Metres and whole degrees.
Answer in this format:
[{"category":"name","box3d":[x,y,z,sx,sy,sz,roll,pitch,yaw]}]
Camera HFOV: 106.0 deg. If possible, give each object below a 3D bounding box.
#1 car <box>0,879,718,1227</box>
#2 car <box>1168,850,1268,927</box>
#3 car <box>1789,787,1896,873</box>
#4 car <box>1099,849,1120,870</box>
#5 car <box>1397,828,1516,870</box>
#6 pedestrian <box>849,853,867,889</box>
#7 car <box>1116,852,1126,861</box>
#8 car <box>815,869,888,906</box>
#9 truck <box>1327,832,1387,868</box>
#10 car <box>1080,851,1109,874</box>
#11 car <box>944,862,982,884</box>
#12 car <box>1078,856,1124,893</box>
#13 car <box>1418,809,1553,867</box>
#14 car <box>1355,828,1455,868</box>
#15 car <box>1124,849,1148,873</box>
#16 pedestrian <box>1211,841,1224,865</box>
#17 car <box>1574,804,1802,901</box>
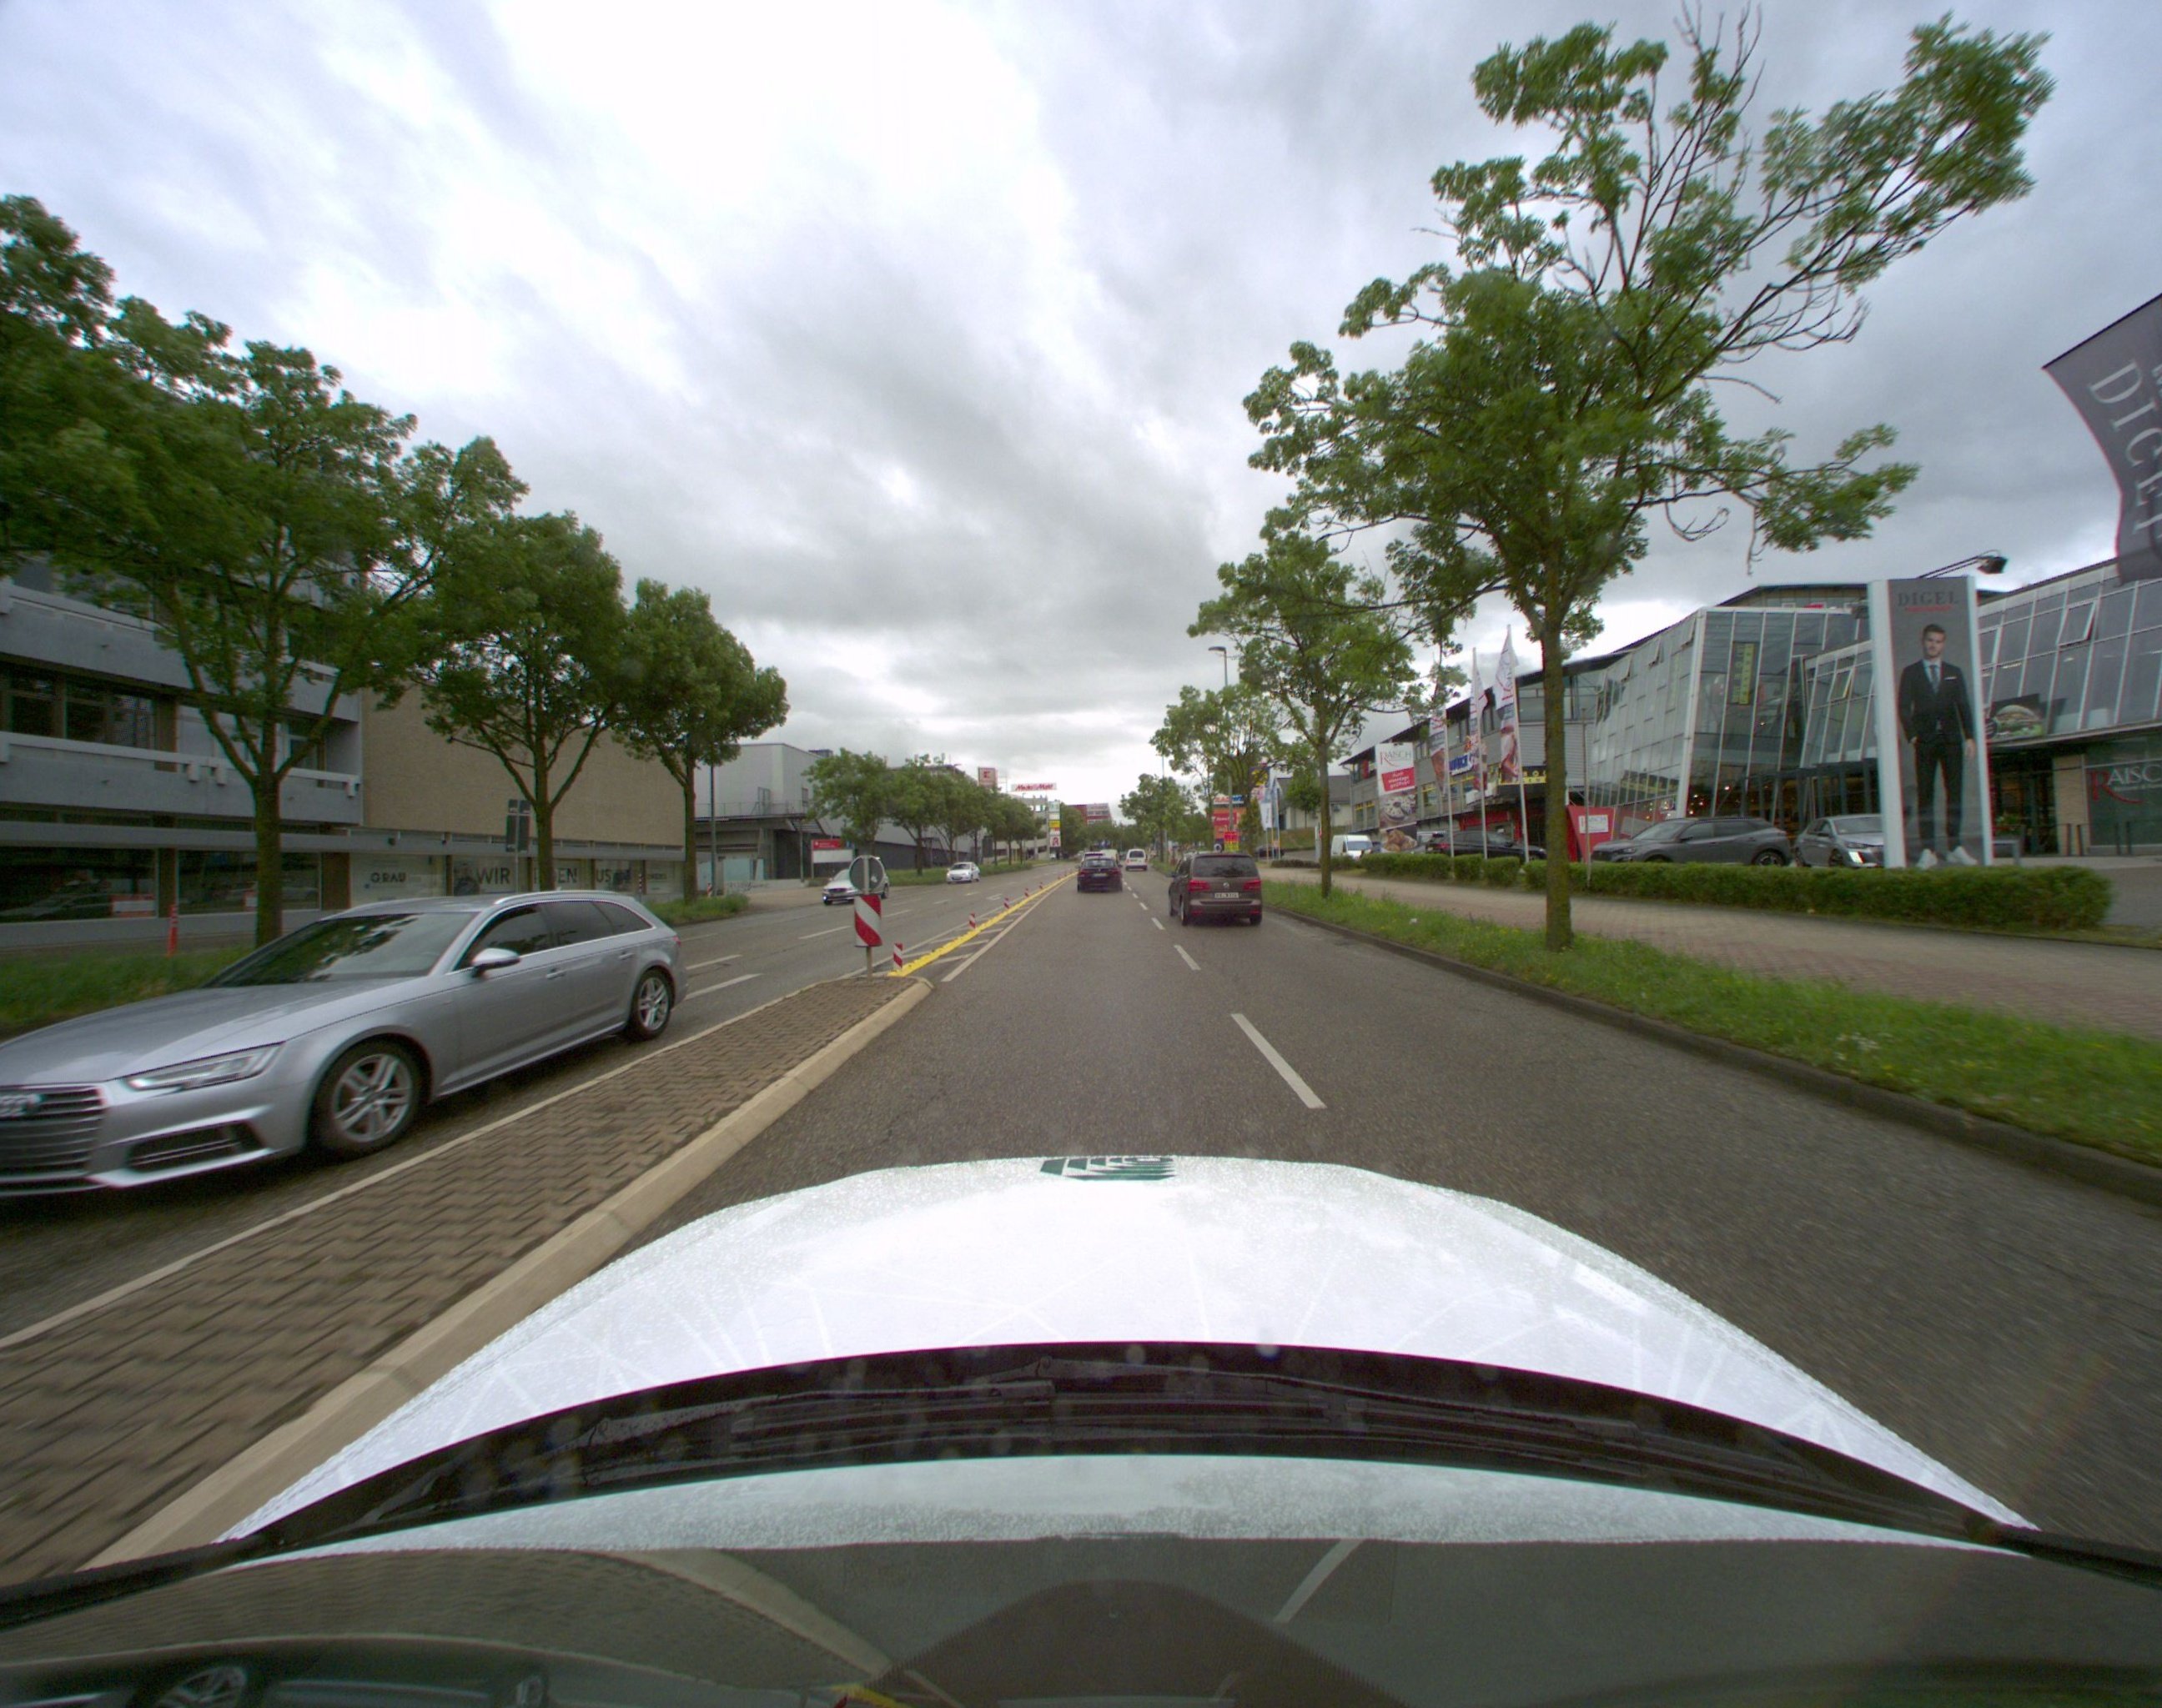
[{"category":"car","box3d":[-4.748,0.997,6.056,1.717,1.398,4.791,-5,-1,2]},{"category":"car","box3d":[3.084,0.721,19.128,1.794,1.587,4.454,0,0,3]},{"category":"car","box3d":[19.210,-0.595,20.620,1.774,1.941,4.066,-2,0,43]},{"category":"car","box3d":[2.861,0.585,80.895,1.986,2.014,4.002,-1,-1,2]},{"category":"car","box3d":[15.381,-0.183,33.563,4.088,1.536,1.803,-2,0,7]},{"category":"pedestrian","box3d":[-14.103,1.043,51.498,0.856,2.218,0.846,-2,0,-1]},{"category":"car","box3d":[6.781,0.417,138.373,1.588,1.474,3.445,-1,-1,1]},{"category":"car","box3d":[-9.909,1.423,35.526,1.936,1.453,4.001,-2,-1,1]},{"category":"truck","box3d":[19.288,-0.248,57.250,2.433,2.348,5.459,-1,-1,1]},{"category":"car","box3d":[0.879,0.552,52.529,1.775,1.398,4.001,-1,-1,2]},{"category":"car","box3d":[-8.155,1.297,56.546,1.936,1.448,4.001,-2,-1,1]},{"category":"car","box3d":[0.846,0.834,34.167,1.775,1.398,4.001,-1,-1,2]},{"category":"car","box3d":[15.103,-0.573,30.547,4.093,1.904,1.801,-3,0,3]},{"category":"car","box3d":[15.332,-0.269,38.725,4.088,1.703,1.803,-2,0,7]},{"category":"car","box3d":[4.627,0.580,68.813,1.775,1.866,4.001,-3,-1,2]},{"category":"pedestrian","box3d":[11.832,-0.099,70.640,0.841,2.013,0.861,-2,0,-1]},{"category":"car","box3d":[14.628,-0.033,19.800,4.093,2.106,1.801,-2,0,3]}]
